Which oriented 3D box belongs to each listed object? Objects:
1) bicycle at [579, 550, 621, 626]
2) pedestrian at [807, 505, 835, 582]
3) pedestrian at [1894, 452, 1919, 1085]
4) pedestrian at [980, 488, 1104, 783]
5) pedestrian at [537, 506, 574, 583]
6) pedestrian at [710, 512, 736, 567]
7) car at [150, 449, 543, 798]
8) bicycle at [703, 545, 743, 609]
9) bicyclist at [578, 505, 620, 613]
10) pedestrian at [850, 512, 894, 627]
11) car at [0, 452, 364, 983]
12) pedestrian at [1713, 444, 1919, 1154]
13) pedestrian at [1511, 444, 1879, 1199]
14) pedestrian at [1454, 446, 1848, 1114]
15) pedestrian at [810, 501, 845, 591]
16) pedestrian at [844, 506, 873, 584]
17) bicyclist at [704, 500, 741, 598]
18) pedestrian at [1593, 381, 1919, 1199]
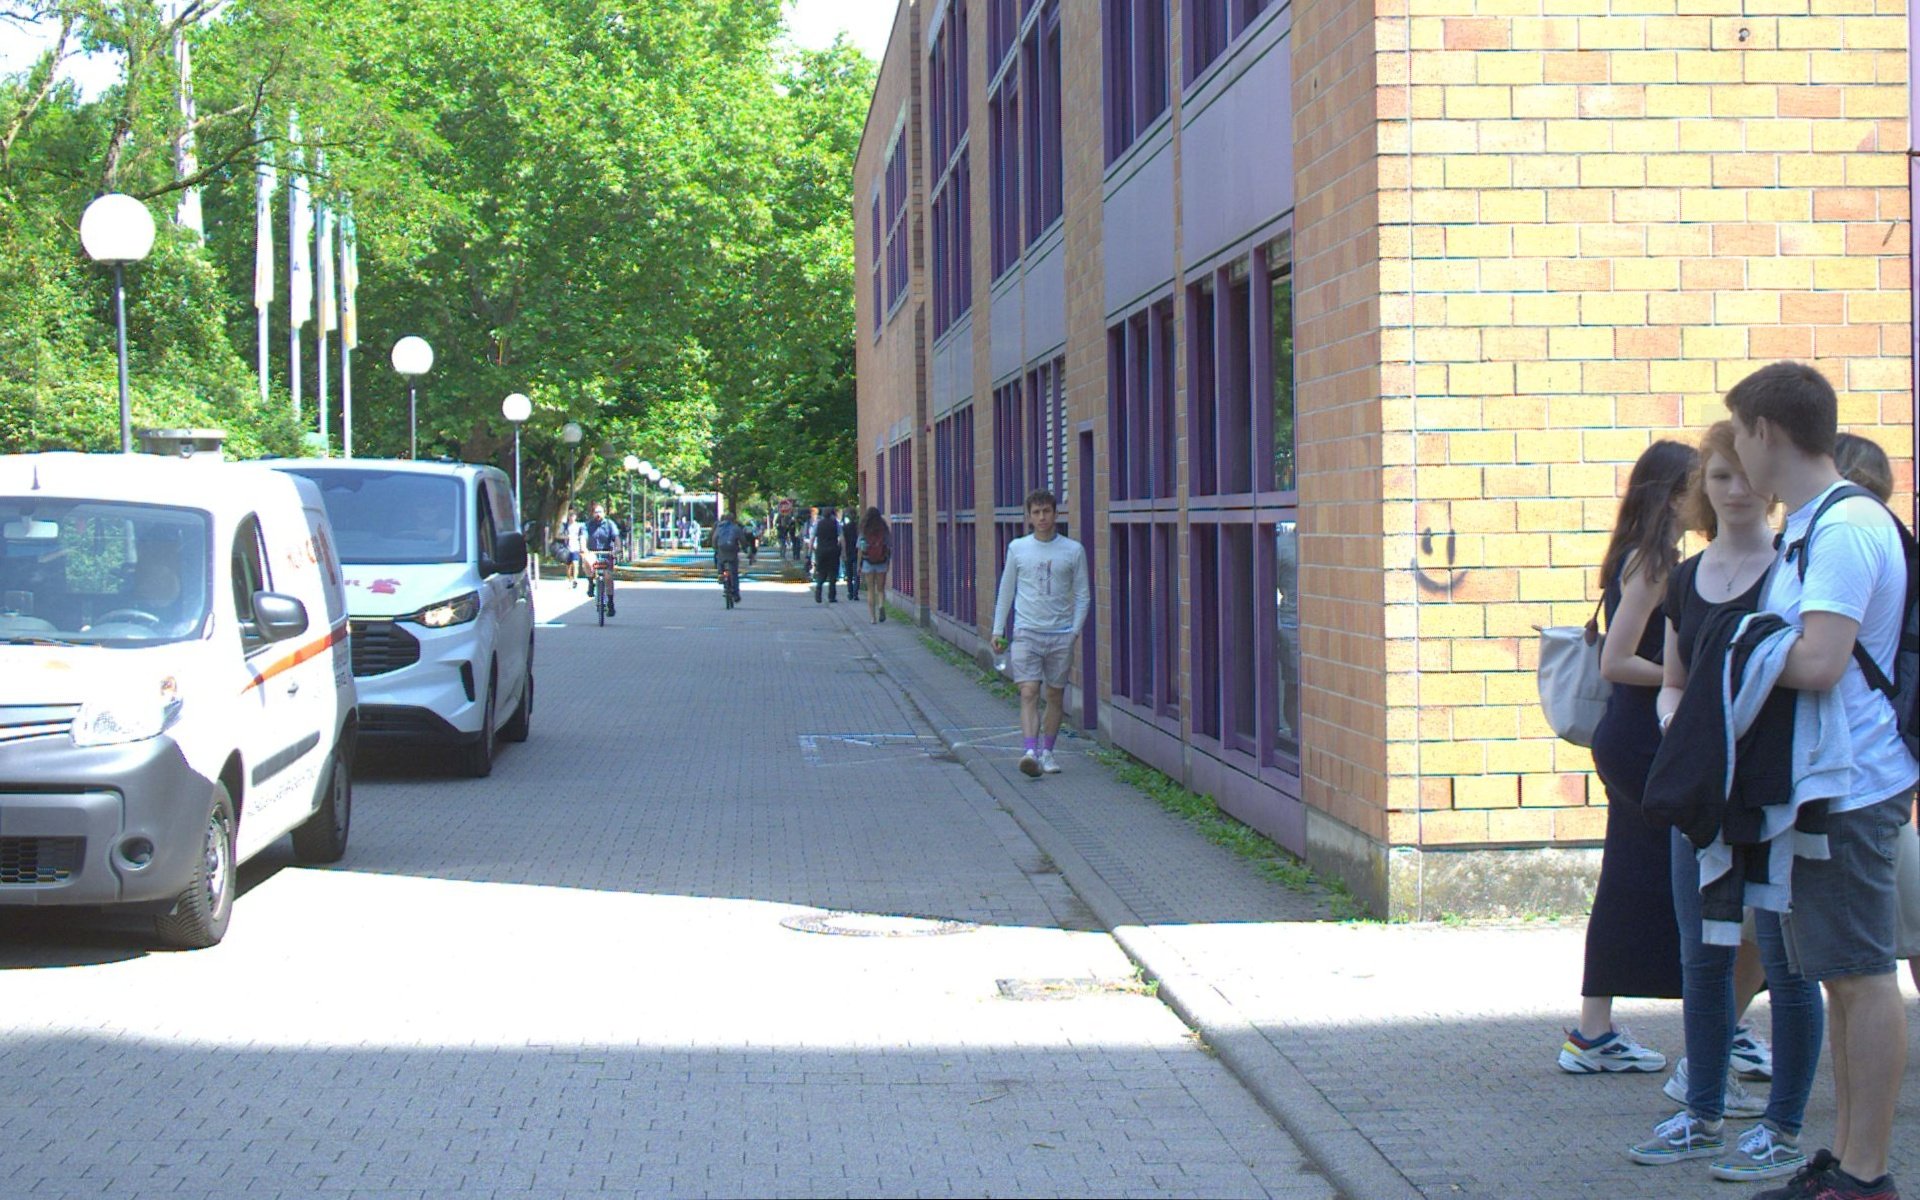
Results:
[{"bbox_3d":[-5.290,-0.191,50.444,0.587,1.080,1.814,-1,1,-7],"label":"bicycle"},{"bbox_3d":[-3.501,-1.420,86.654,0.653,1.915,0.817,-2,0,-2],"label":"pedestrian"},{"bbox_3d":[2.973,0.439,8.930,0.929,1.667,0.588,-1,0,4],"label":"pedestrian"},{"bbox_3d":[0.487,0.207,20.646,0.682,1.741,0.783,0,0,-3],"label":"pedestrian"},{"bbox_3d":[-8.995,-1.230,76.476,0.725,1.667,0.748,-2,0,-2],"label":"pedestrian"},{"bbox_3d":[-7.223,-1.845,104.921,0.725,1.667,0.748,-2,0,-2],"label":"pedestrian"},{"bbox_3d":[-3.802,0.070,22.169,1.883,1.967,5.215,-1,1,-3],"label":"car"},{"bbox_3d":[-4.158,-0.413,60.259,0.587,1.080,1.908,-1,1,-7],"label":"bicycle"},{"bbox_3d":[-5.289,-0.606,50.406,0.587,1.567,0.829,-1,1,-7],"label":"bicyclist"},{"bbox_3d":[-1.306,-0.451,50.913,0.586,1.667,0.699,-2,0,-2],"label":"pedestrian"},{"bbox_3d":[-3.536,0.346,13.638,1.790,1.755,4.482,-1,1,-3],"label":"car"},{"bbox_3d":[2.334,0.464,8.354,0.886,1.667,0.559,-1,0,4],"label":"pedestrian"},{"bbox_3d":[1.657,0.501,7.828,0.696,1.667,0.588,-2,0,4],"label":"pedestrian"},{"bbox_3d":[1.796,0.449,9.024,0.886,1.666,0.643,-2,2,4],"label":"pedestrian"},{"bbox_3d":[-2.479,-1.007,64.422,0.586,1.667,0.817,-2,0,-2],"label":"pedestrian"},{"bbox_3d":[-2.564,-1.384,86.713,0.653,1.915,0.817,-2,0,-2],"label":"pedestrian"},{"bbox_3d":[-4.165,-0.894,60.264,0.587,1.710,0.665,-1,1,-7],"label":"bicyclist"},{"bbox_3d":[1.770,0.461,7.174,0.767,1.788,0.588,-2,0,4],"label":"pedestrian"}]
